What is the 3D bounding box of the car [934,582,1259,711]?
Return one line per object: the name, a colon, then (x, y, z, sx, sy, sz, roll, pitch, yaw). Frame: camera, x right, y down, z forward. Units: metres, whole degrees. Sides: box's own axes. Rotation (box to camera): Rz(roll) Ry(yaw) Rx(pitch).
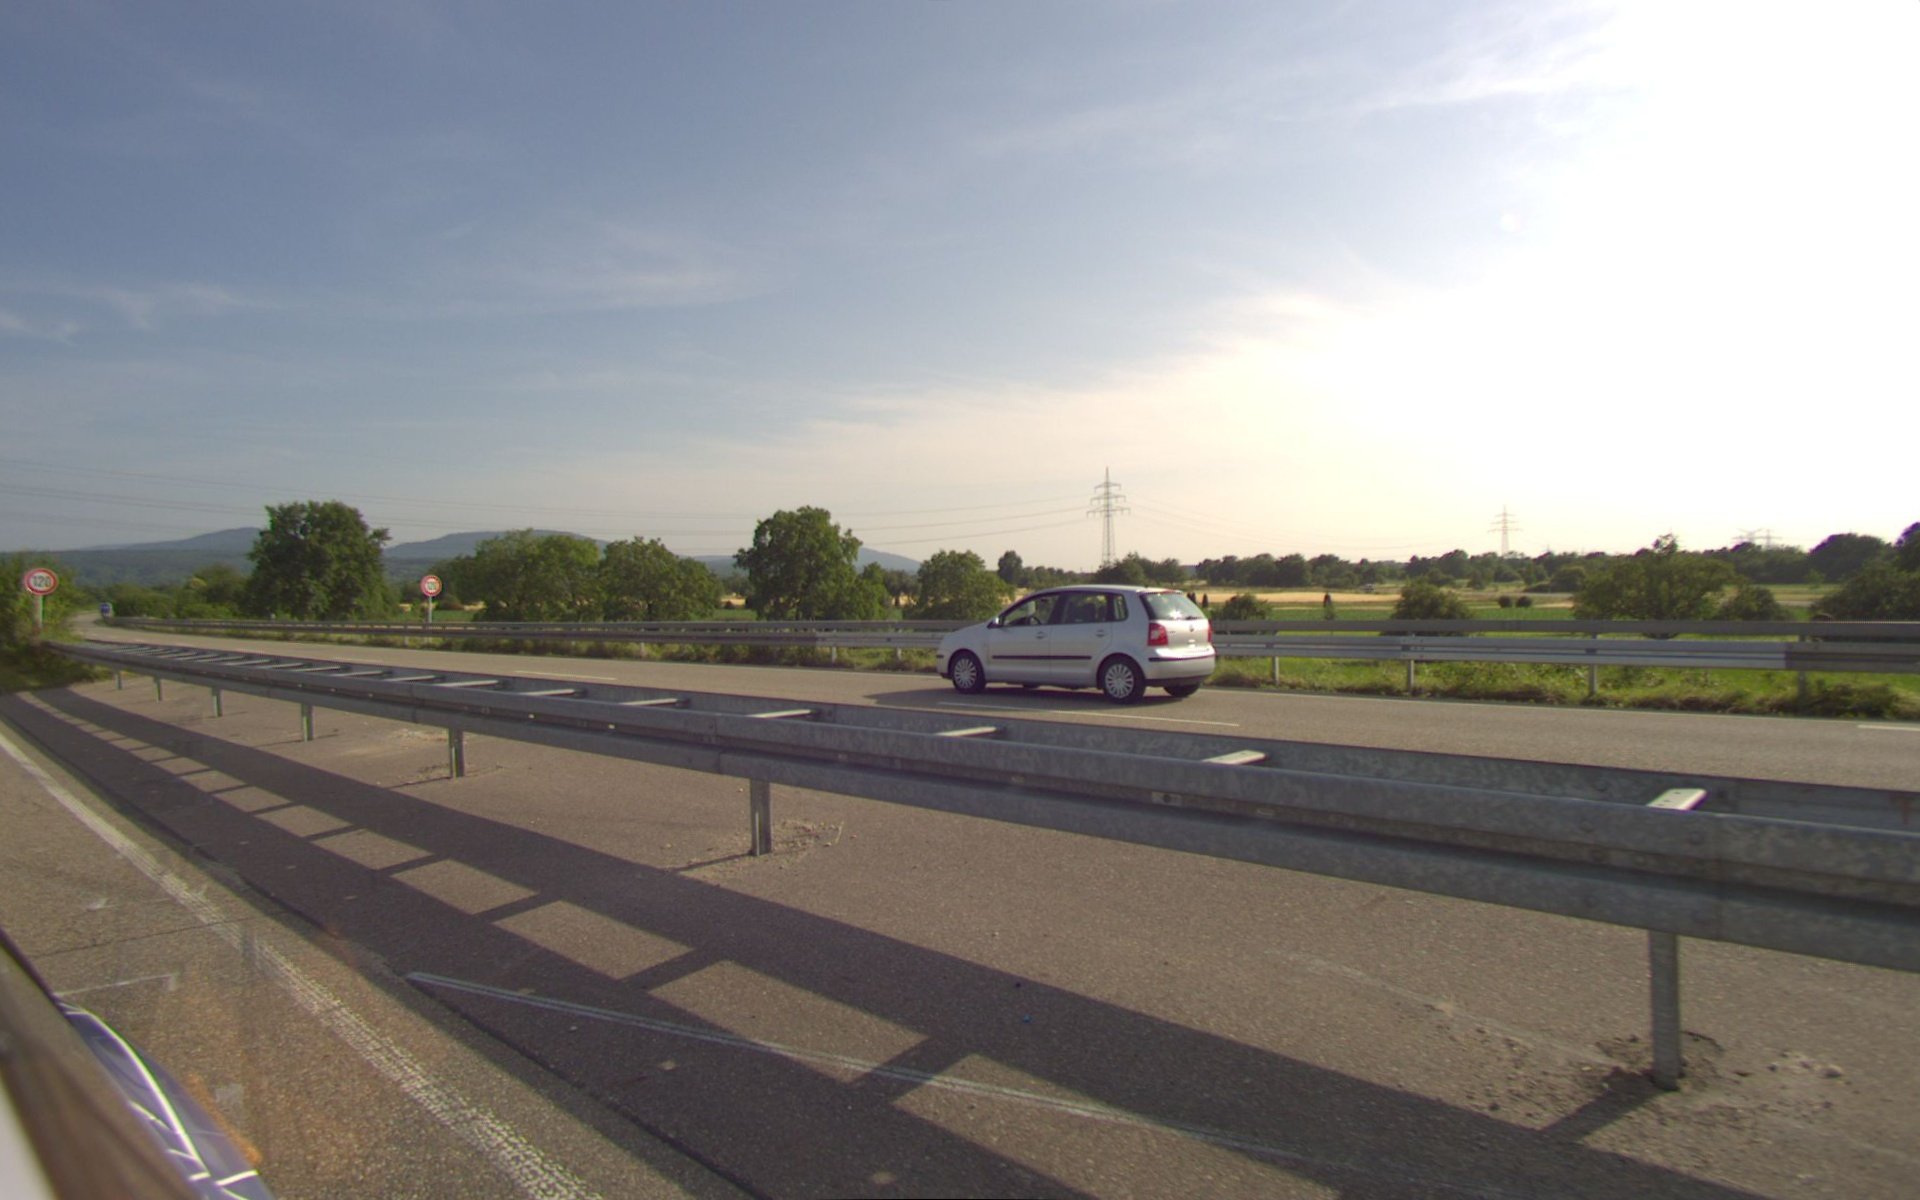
car: (1.662, 0.568, 13.192, 3.999, 1.431, 1.622, -1, -2, 42)
